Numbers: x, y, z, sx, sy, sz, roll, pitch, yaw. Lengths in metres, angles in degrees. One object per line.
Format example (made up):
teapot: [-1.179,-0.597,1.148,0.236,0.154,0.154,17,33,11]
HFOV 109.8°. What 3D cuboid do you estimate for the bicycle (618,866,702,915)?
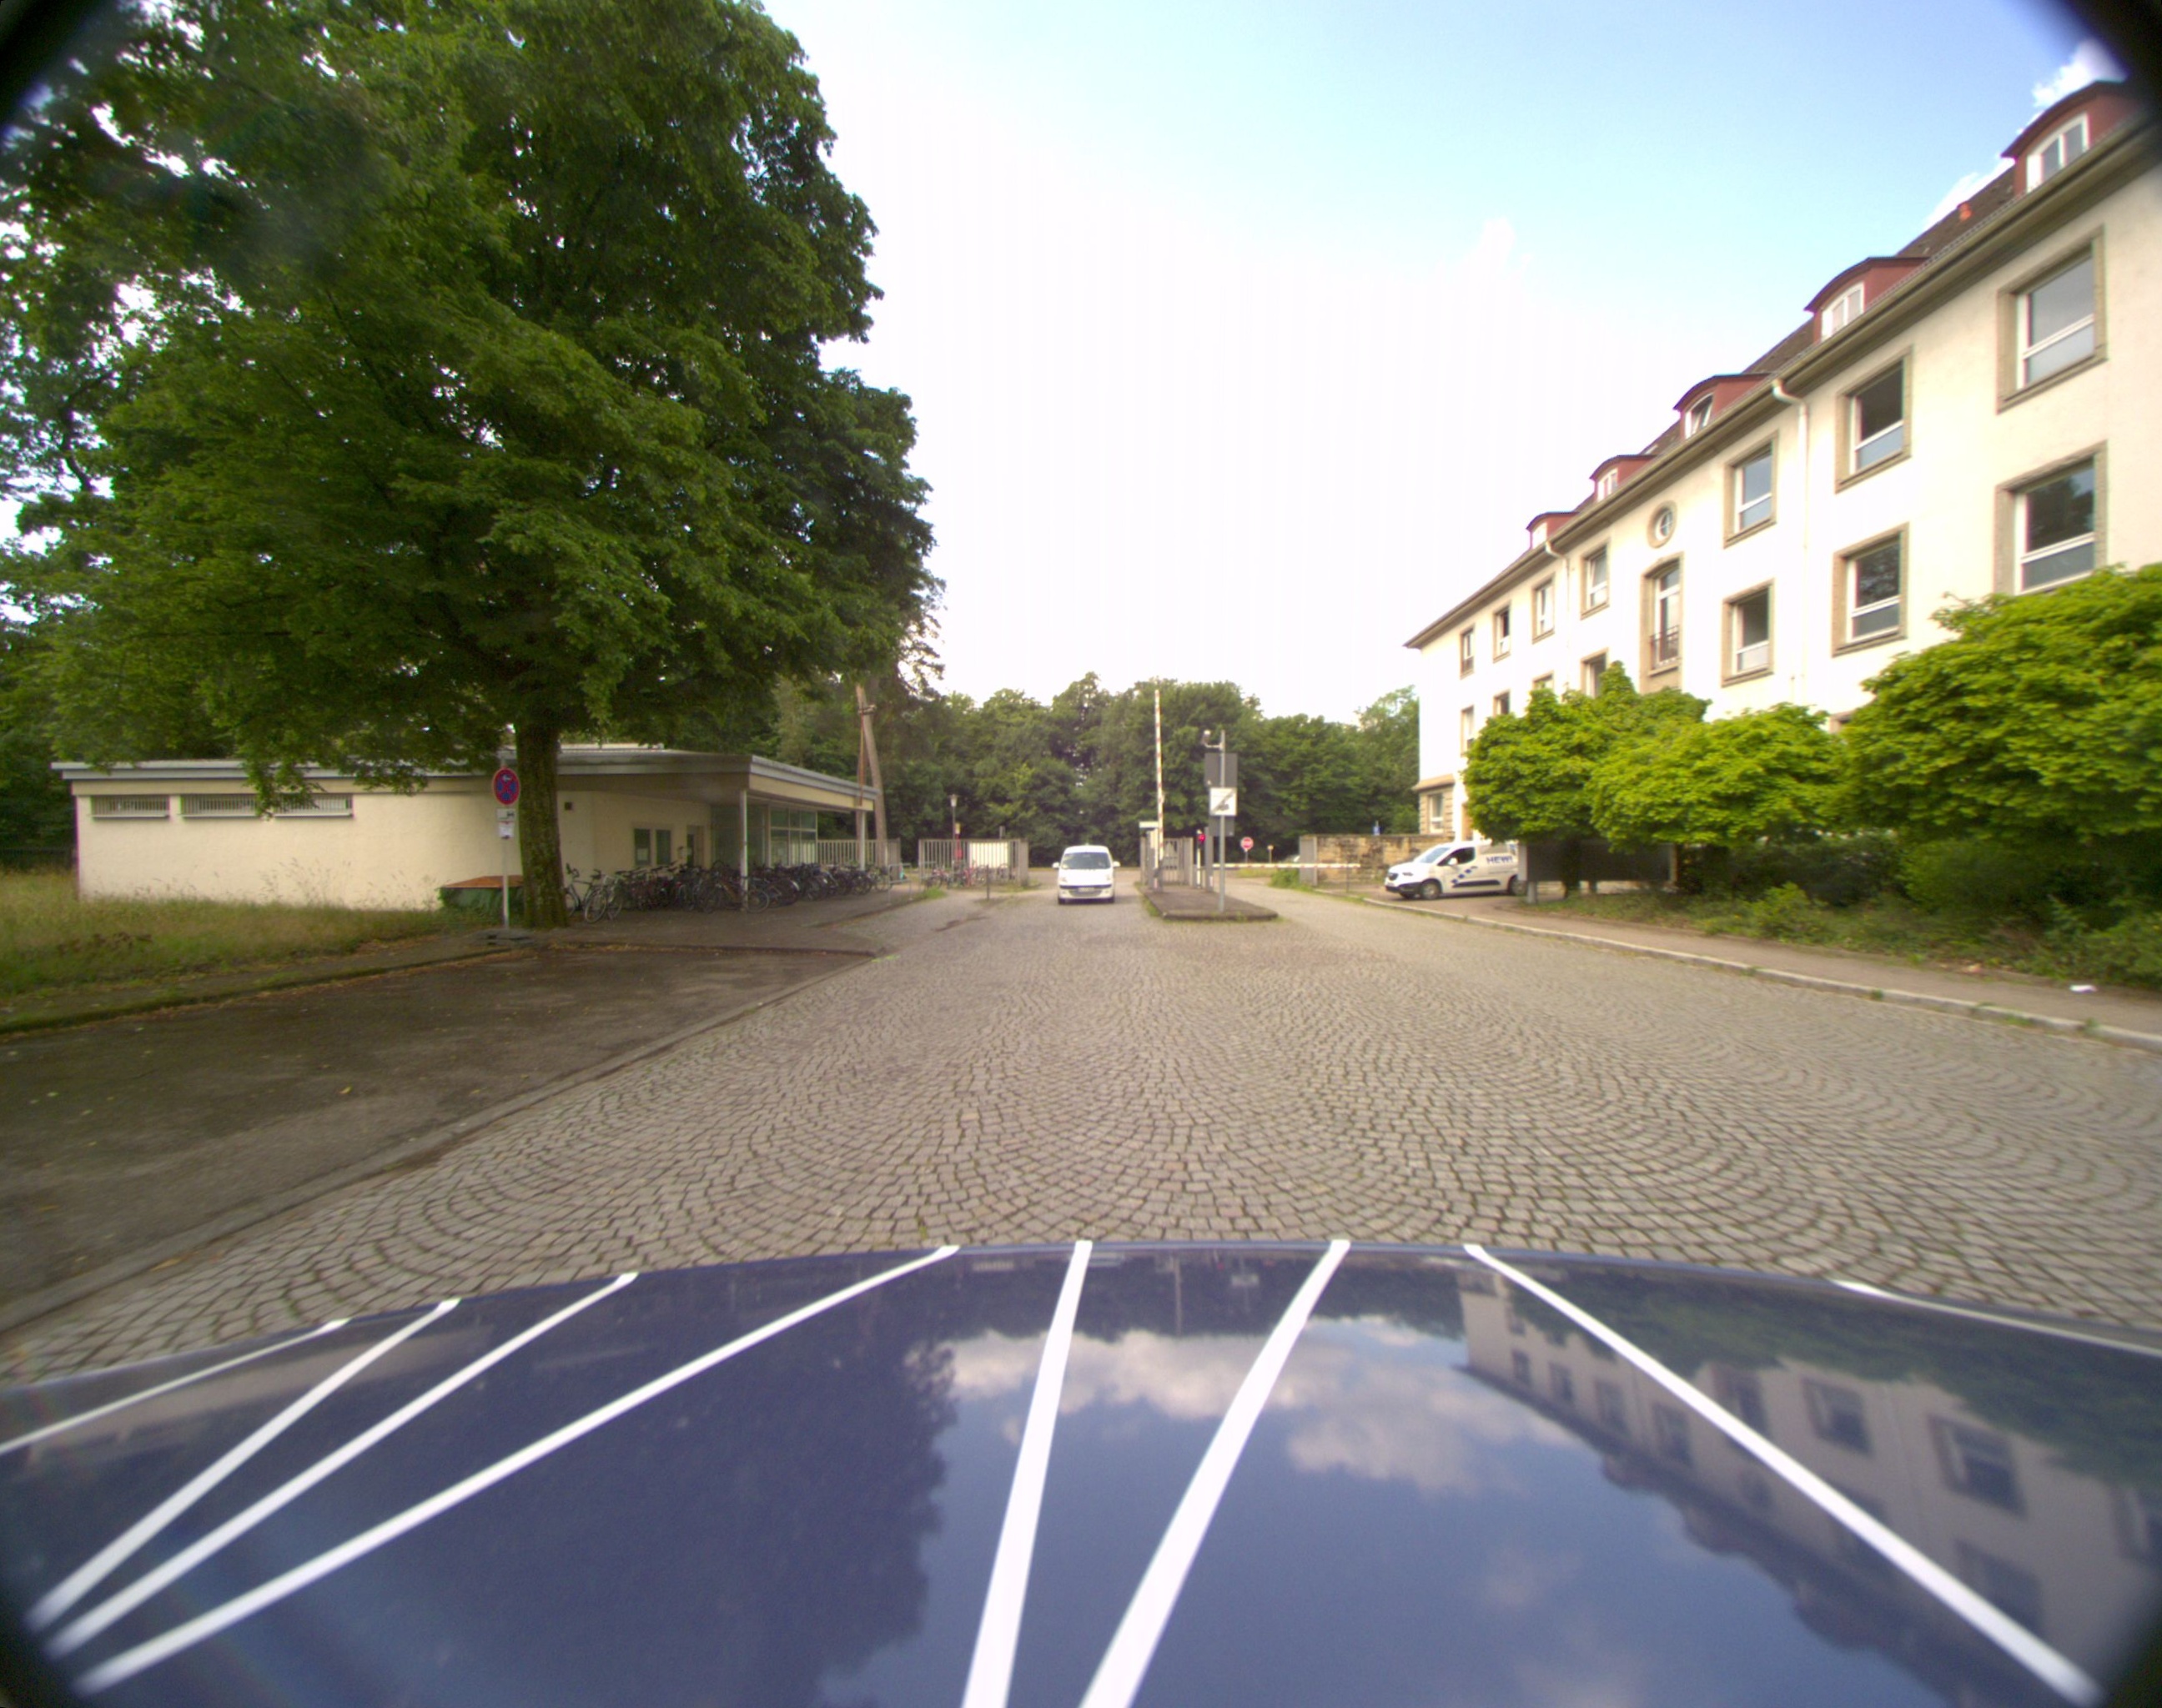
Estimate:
bicycle: [-10.532,0.902,19.049,1.745,1.158,0.608,1,1,-2]

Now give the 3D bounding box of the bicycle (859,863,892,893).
bicycle: [-7.477,0.856,27.635,1.154,1.056,0.286,-1,1,-19]

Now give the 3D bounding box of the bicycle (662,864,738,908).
bicycle: [-10.517,0.879,20.997,1.745,1.158,0.608,1,1,-2]

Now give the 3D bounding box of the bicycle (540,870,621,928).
bicycle: [-10.528,0.922,16.041,0.598,1.110,1.635,1,0,1]

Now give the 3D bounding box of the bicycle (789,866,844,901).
bicycle: [-8.354,0.928,24.015,1.596,1.044,0.325,1,1,-6]

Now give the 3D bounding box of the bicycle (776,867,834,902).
bicycle: [-8.490,0.943,23.399,1.636,1.044,0.334,1,1,-13]

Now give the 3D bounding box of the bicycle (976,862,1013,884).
bicycle: [-4.138,0.895,36.319,1.730,1.027,0.387,1,1,3]

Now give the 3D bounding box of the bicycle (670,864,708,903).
bicycle: [-11.417,0.845,22.162,0.480,1.069,1.680,1,0,-9]

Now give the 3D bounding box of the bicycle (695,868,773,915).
bicycle: [-8.433,0.917,18.522,1.682,1.102,0.338,1,1,-12]

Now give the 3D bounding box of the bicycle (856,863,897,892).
bicycle: [-7.553,0.871,28.035,1.408,1.040,0.338,-1,1,-25]

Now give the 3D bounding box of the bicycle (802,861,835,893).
bicycle: [-9.230,0.794,26.780,0.491,1.069,1.832,1,0,1]

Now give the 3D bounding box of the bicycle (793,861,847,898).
bicycle: [-8.362,0.826,24.397,1.596,1.134,0.325,1,1,-6]

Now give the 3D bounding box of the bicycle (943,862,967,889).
bicycle: [-5.177,0.869,31.333,0.692,1.056,1.565,0,1,2]

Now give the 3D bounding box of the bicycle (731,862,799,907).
bicycle: [-8.657,0.836,20.850,1.635,1.183,0.473,1,1,-12]

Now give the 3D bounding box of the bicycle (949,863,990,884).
bicycle: [-5.226,0.929,35.624,1.868,0.934,0.503,1,1,-3]

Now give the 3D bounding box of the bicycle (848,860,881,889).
bicycle: [-8.743,0.812,30.737,0.648,1.132,1.681,0,1,8]

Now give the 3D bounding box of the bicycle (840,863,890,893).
bicycle: [-8.070,0.891,28.437,1.753,1.040,0.453,-1,1,-37]

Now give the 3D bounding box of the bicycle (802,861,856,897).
bicycle: [-8.304,0.817,25.067,1.617,1.134,0.325,1,1,-6]

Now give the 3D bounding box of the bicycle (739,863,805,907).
bicycle: [-8.686,0.873,21.404,1.635,1.183,0.419,1,1,-11]

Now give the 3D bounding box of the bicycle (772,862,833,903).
bicycle: [-8.344,0.848,22.810,1.635,1.183,0.498,1,1,-11]

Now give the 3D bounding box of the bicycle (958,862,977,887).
bicycle: [-4.961,0.874,33.264,0.474,1.051,1.732,0,1,2]

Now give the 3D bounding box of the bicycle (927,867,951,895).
bicycle: [-5.297,1.000,28.412,0.535,0.947,1.655,0,1,2]

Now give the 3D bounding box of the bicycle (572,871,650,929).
bicycle: [-9.897,0.944,16.051,0.598,1.110,1.635,1,0,1]

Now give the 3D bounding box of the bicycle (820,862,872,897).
bicycle: [-7.917,0.851,25.587,1.617,1.134,0.325,1,1,-6]

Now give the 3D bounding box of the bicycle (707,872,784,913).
bicycle: [-8.570,0.972,19.427,1.749,0.970,0.757,1,1,-28]

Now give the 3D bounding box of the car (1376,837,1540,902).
car: [11.999,0.463,24.361,4.312,1.796,1.820,-3,1,0]

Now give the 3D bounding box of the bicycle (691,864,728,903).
bicycle: [-10.844,0.848,22.213,0.480,1.069,1.680,1,0,-9]

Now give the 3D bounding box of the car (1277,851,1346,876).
car: [14.660,0.577,48.497,3.994,1.508,1.803,-1,0,8]

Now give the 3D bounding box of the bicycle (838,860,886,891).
bicycle: [-8.334,0.800,28.952,1.744,1.125,0.473,-1,1,-42]

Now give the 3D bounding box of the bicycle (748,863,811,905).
bicycle: [-8.717,0.867,22.018,1.635,1.183,0.419,1,1,-11]

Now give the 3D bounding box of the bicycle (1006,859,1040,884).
bicycle: [-2.932,0.870,38.215,1.655,1.223,0.749,1,1,-6]

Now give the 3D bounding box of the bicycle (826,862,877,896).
bicycle: [-7.849,0.845,25.971,1.617,1.134,0.325,1,1,-6]

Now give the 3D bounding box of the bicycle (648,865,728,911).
bicycle: [-10.364,0.886,20.073,1.745,1.158,0.608,1,1,-2]

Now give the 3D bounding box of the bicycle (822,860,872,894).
bicycle: [-8.126,0.806,26.422,1.617,1.134,0.356,1,1,-6]

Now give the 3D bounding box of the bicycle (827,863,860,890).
bicycle: [-9.114,0.859,29.191,0.404,1.004,1.359,0,1,25]

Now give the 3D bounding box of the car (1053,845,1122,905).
car: [0.302,0.633,25.130,1.866,1.749,4.150,-2,0,6]

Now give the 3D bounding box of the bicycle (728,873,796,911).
bicycle: [-8.486,0.998,20.231,1.638,0.970,0.322,1,1,-28]

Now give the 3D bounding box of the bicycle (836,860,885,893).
bicycle: [-7.843,0.801,27.096,1.617,1.134,0.356,1,1,-6]
